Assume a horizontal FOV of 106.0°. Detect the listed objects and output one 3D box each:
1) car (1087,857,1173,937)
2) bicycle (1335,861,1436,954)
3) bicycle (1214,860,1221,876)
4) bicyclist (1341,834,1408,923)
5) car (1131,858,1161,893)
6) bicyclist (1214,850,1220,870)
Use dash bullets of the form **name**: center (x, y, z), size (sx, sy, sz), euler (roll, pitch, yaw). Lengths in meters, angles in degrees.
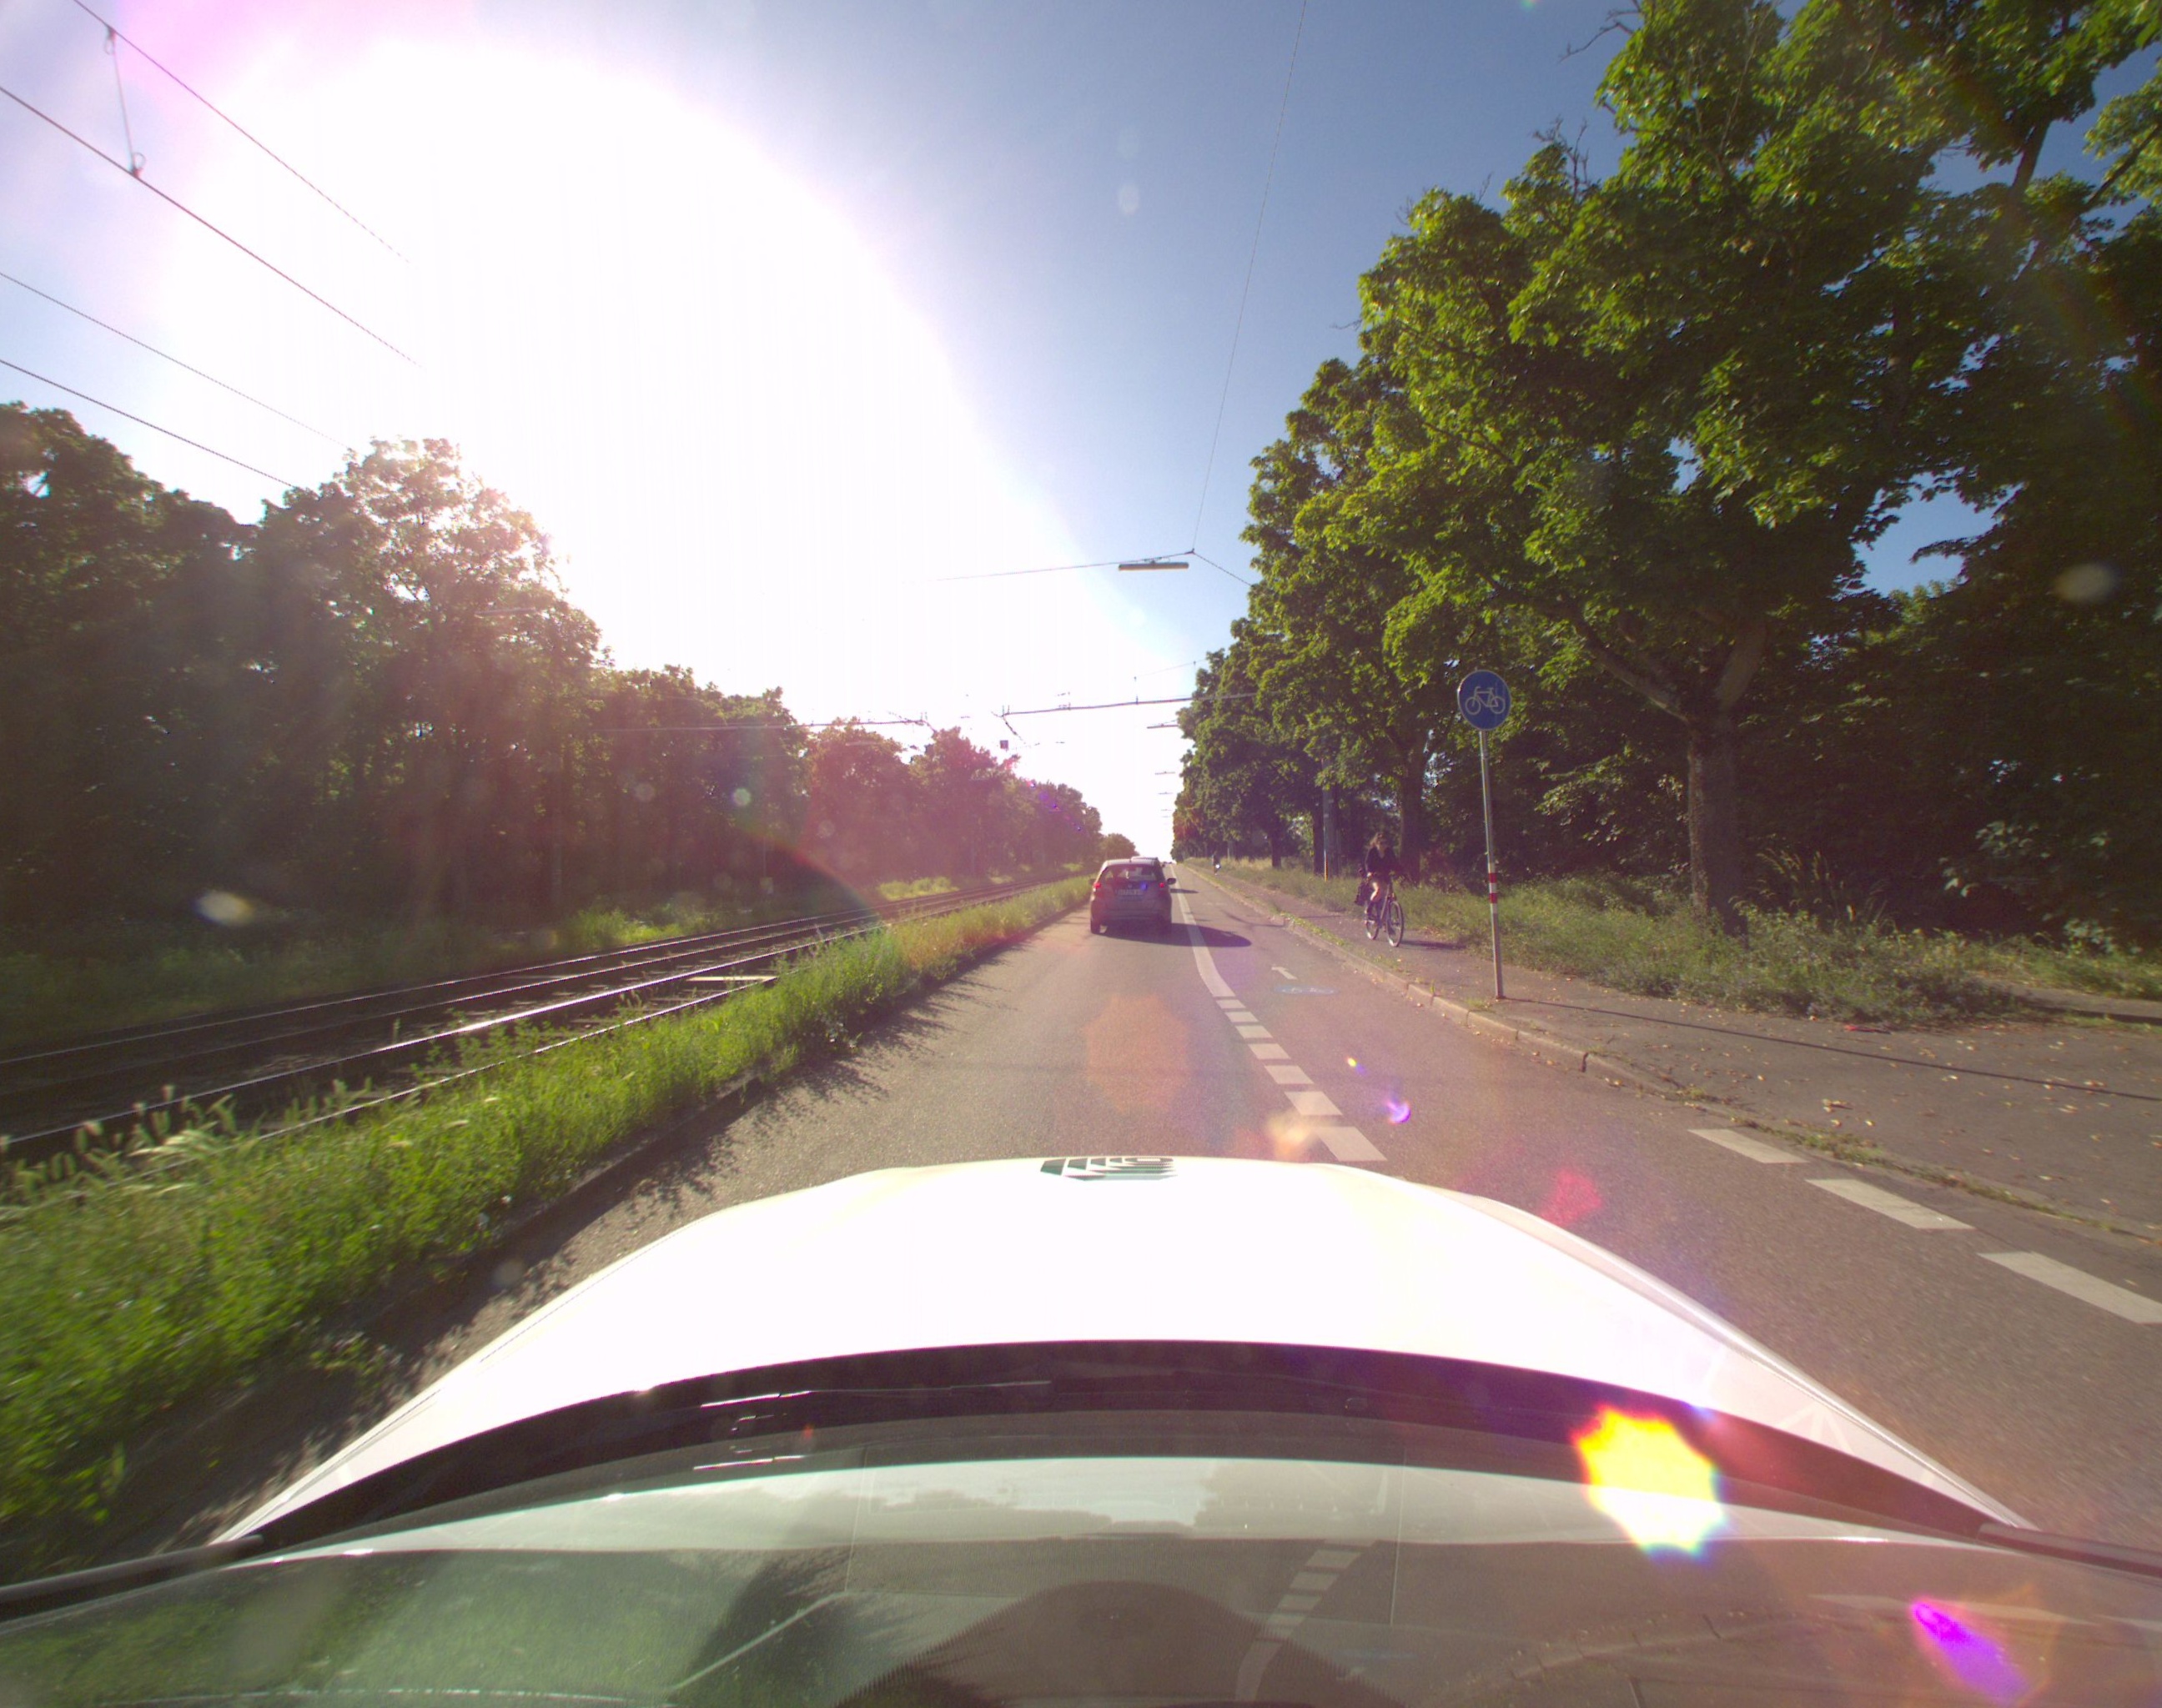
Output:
- **car**: center (1.123, 0.851, 17.831), size (1.663, 1.515, 3.679), euler (1, 0, 5)
- **bicycle**: center (4.730, 0.775, 12.853), size (0.616, 1.190, 2.507), euler (-5, 1, 2)
- **bicycle**: center (10.040, 1.005, 59.974), size (0.416, 1.188, 1.724), euler (-1, 0, 5)
- **bicyclist**: center (4.766, 0.381, 13.261), size (0.753, 1.368, 0.806), euler (-2, 0, -1)
- **car**: center (3.086, 1.019, 38.498), size (1.345, 1.528, 3.127), euler (-2, -2, 5)
- **bicyclist**: center (10.029, 0.436, 60.065), size (0.403, 1.507, 0.575), euler (-2, -1, 5)
